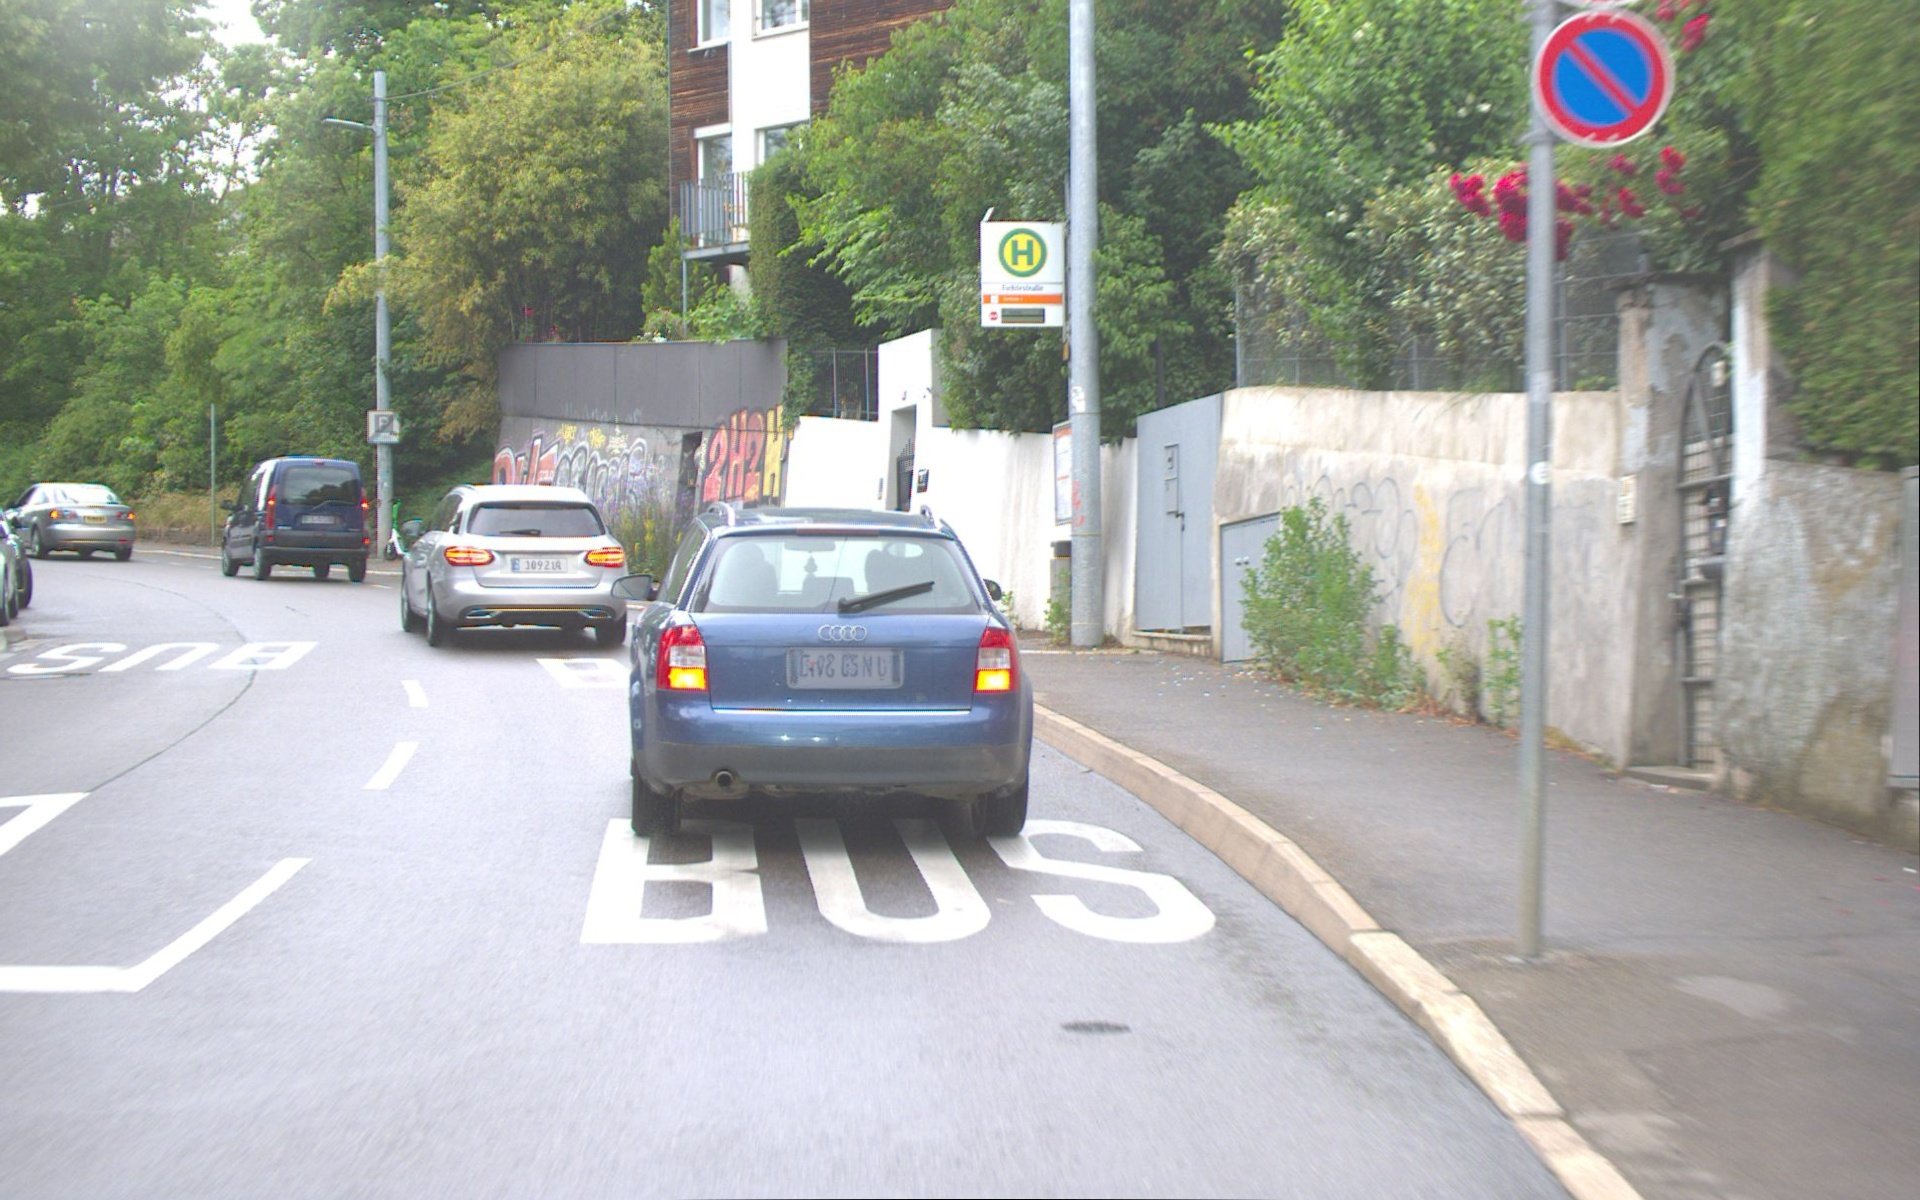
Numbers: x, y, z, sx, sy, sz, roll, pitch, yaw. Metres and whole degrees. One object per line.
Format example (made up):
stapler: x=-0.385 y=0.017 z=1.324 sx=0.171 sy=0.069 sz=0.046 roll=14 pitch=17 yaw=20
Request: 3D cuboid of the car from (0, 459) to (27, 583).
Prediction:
car: x=-12.295 y=-0.978 z=41.835 sx=1.673 sy=1.421 sz=4.002 roll=-2 pitch=3 yaw=-16

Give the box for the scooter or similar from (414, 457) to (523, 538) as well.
scooter or similar: x=-8.953 y=-1.858 z=62.573 sx=1.833 sy=1.310 sz=0.600 roll=4 pitch=-1 yaw=-12

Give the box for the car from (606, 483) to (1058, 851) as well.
car: x=-0.723 y=0.211 z=15.998 sx=1.777 sy=1.434 sz=4.001 roll=1 pitch=2 yaw=-6

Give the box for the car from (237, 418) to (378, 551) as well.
car: x=-9.887 y=-1.774 z=51.886 sx=1.730 sy=1.888 sz=4.057 roll=-2 pitch=3 yaw=-15

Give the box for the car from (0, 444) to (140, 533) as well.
car: x=-16.737 y=-2.105 z=64.372 sx=1.766 sy=1.564 sz=4.031 roll=-3 pitch=3 yaw=-26

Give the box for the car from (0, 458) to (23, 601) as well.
car: x=-10.896 y=-0.761 z=36.355 sx=1.673 sy=1.421 sz=4.002 roll=-2 pitch=3 yaw=-13

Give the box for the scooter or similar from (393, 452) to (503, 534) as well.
scooter or similar: x=-9.196 y=-1.911 z=61.736 sx=1.833 sy=1.310 sz=0.600 roll=4 pitch=-1 yaw=-12

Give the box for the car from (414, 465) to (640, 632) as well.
car: x=-4.063 y=-0.510 z=32.180 sx=1.908 sy=1.383 sz=4.352 roll=2 pitch=1 yaw=-8
